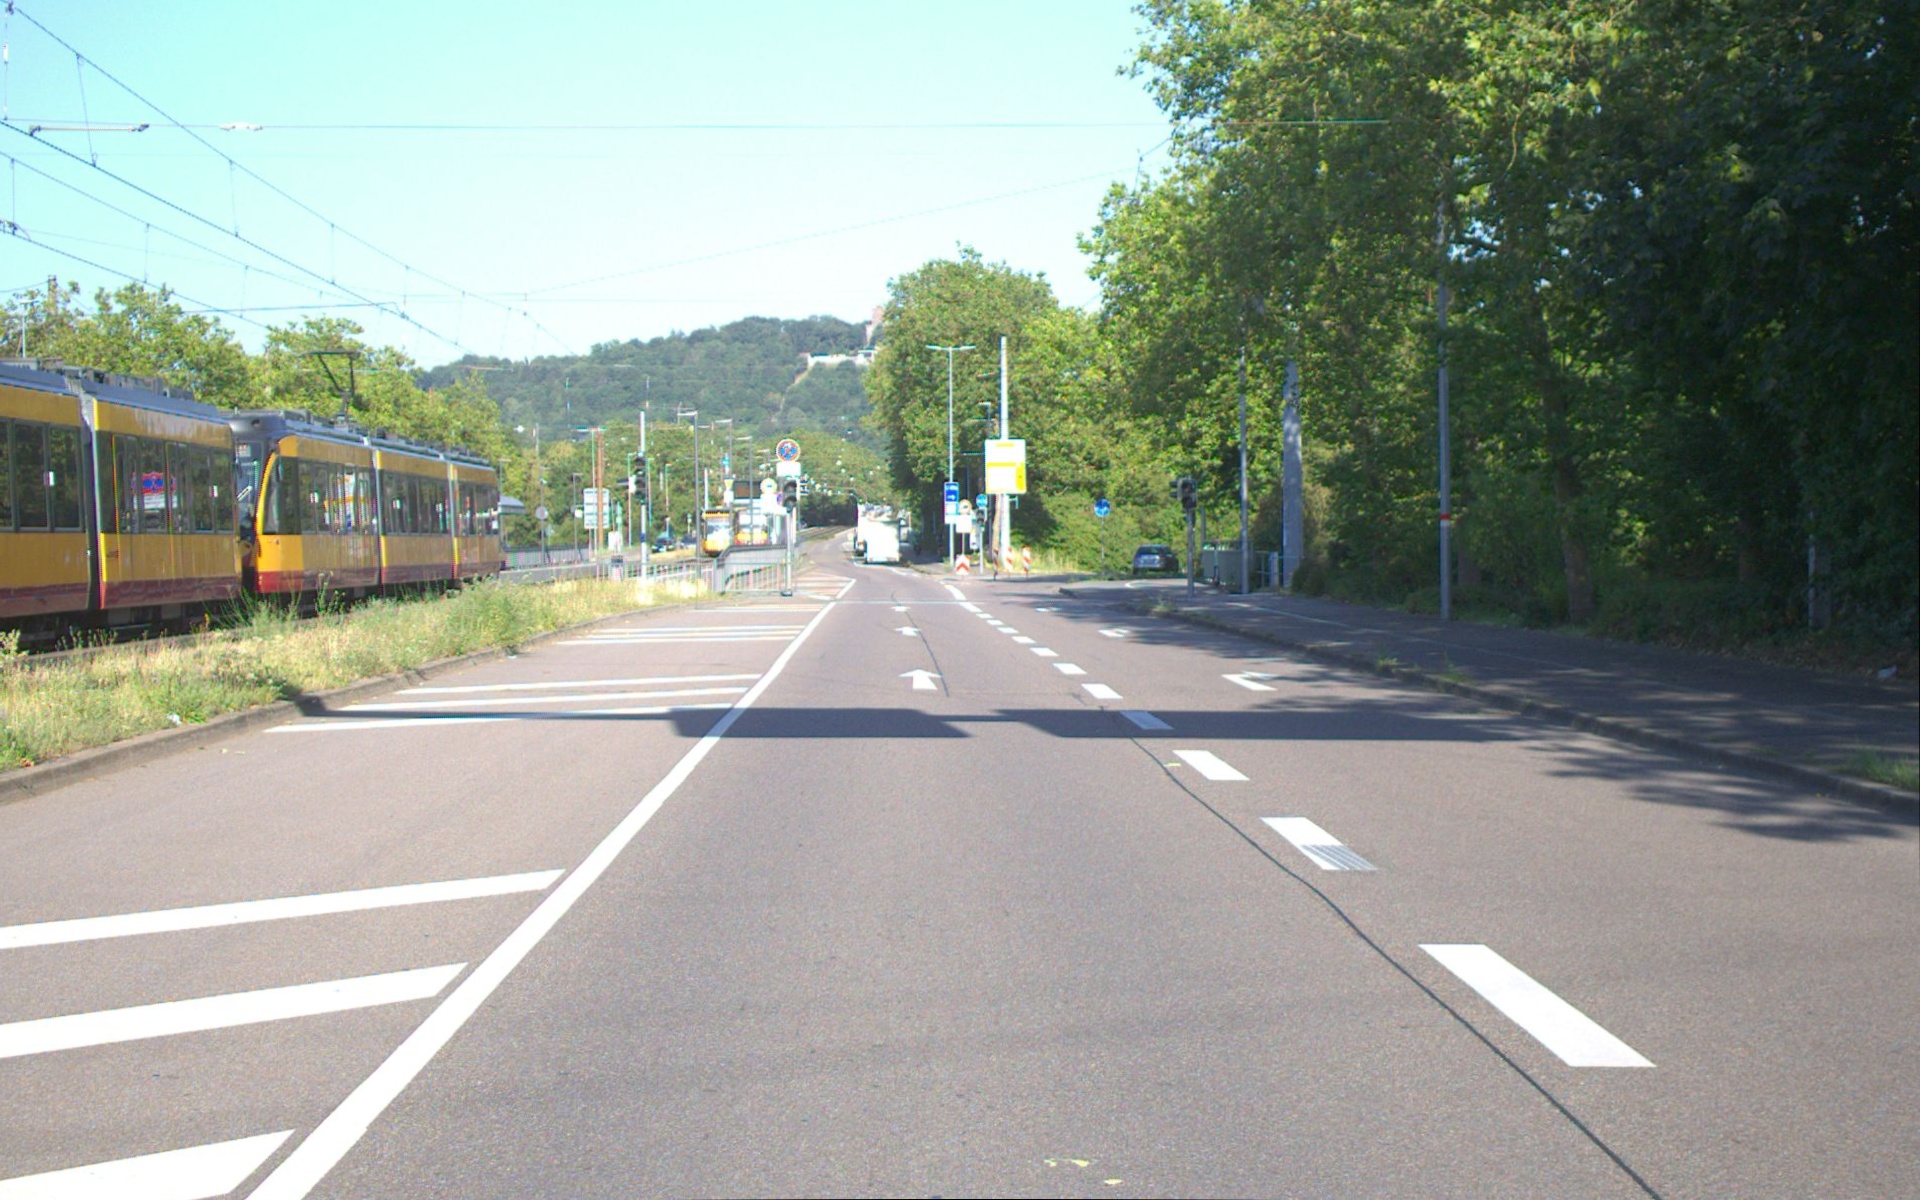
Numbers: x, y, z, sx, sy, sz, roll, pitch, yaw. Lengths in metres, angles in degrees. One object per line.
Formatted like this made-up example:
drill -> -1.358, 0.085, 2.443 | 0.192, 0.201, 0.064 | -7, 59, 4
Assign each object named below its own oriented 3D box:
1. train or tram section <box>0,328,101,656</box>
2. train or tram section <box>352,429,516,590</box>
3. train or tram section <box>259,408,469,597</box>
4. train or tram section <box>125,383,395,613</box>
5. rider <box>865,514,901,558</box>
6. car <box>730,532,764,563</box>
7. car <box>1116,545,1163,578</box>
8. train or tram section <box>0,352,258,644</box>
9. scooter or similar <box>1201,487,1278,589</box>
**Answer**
train or tram section -> -12.769, -1.285, 40.032 | 2.804, 3.889, 11.992 | 1, 1, -2
train or tram section -> -13.729, -2.319, 90.513 | 2.824, 3.937, 10.835 | 1, 1, -1
train or tram section -> -13.469, -2.141, 78.784 | 2.824, 3.937, 12.655 | 1, 1, -1
train or tram section -> -13.209, -1.868, 66.105 | 2.824, 3.937, 12.708 | 1, 1, -1
rider -> -4.662, -3.892, 208.905 | 2.109, 2.638, 0.736 | 0, 1, 5
car -> -14.163, -3.520, 228.530 | 1.993, 2.007, 4.000 | 1, 1, -1
car -> 8.634, -1.860, 165.071 | 2.087, 1.560, 3.954 | 1, 1, 5
train or tram section -> -13.088, -1.466, 51.948 | 2.804, 3.889, 11.814 | 1, 1, -2
scooter or similar -> 7.677, -1.704, 94.771 | 1.681, 2.706, 4.869 | 1, 1, -1
